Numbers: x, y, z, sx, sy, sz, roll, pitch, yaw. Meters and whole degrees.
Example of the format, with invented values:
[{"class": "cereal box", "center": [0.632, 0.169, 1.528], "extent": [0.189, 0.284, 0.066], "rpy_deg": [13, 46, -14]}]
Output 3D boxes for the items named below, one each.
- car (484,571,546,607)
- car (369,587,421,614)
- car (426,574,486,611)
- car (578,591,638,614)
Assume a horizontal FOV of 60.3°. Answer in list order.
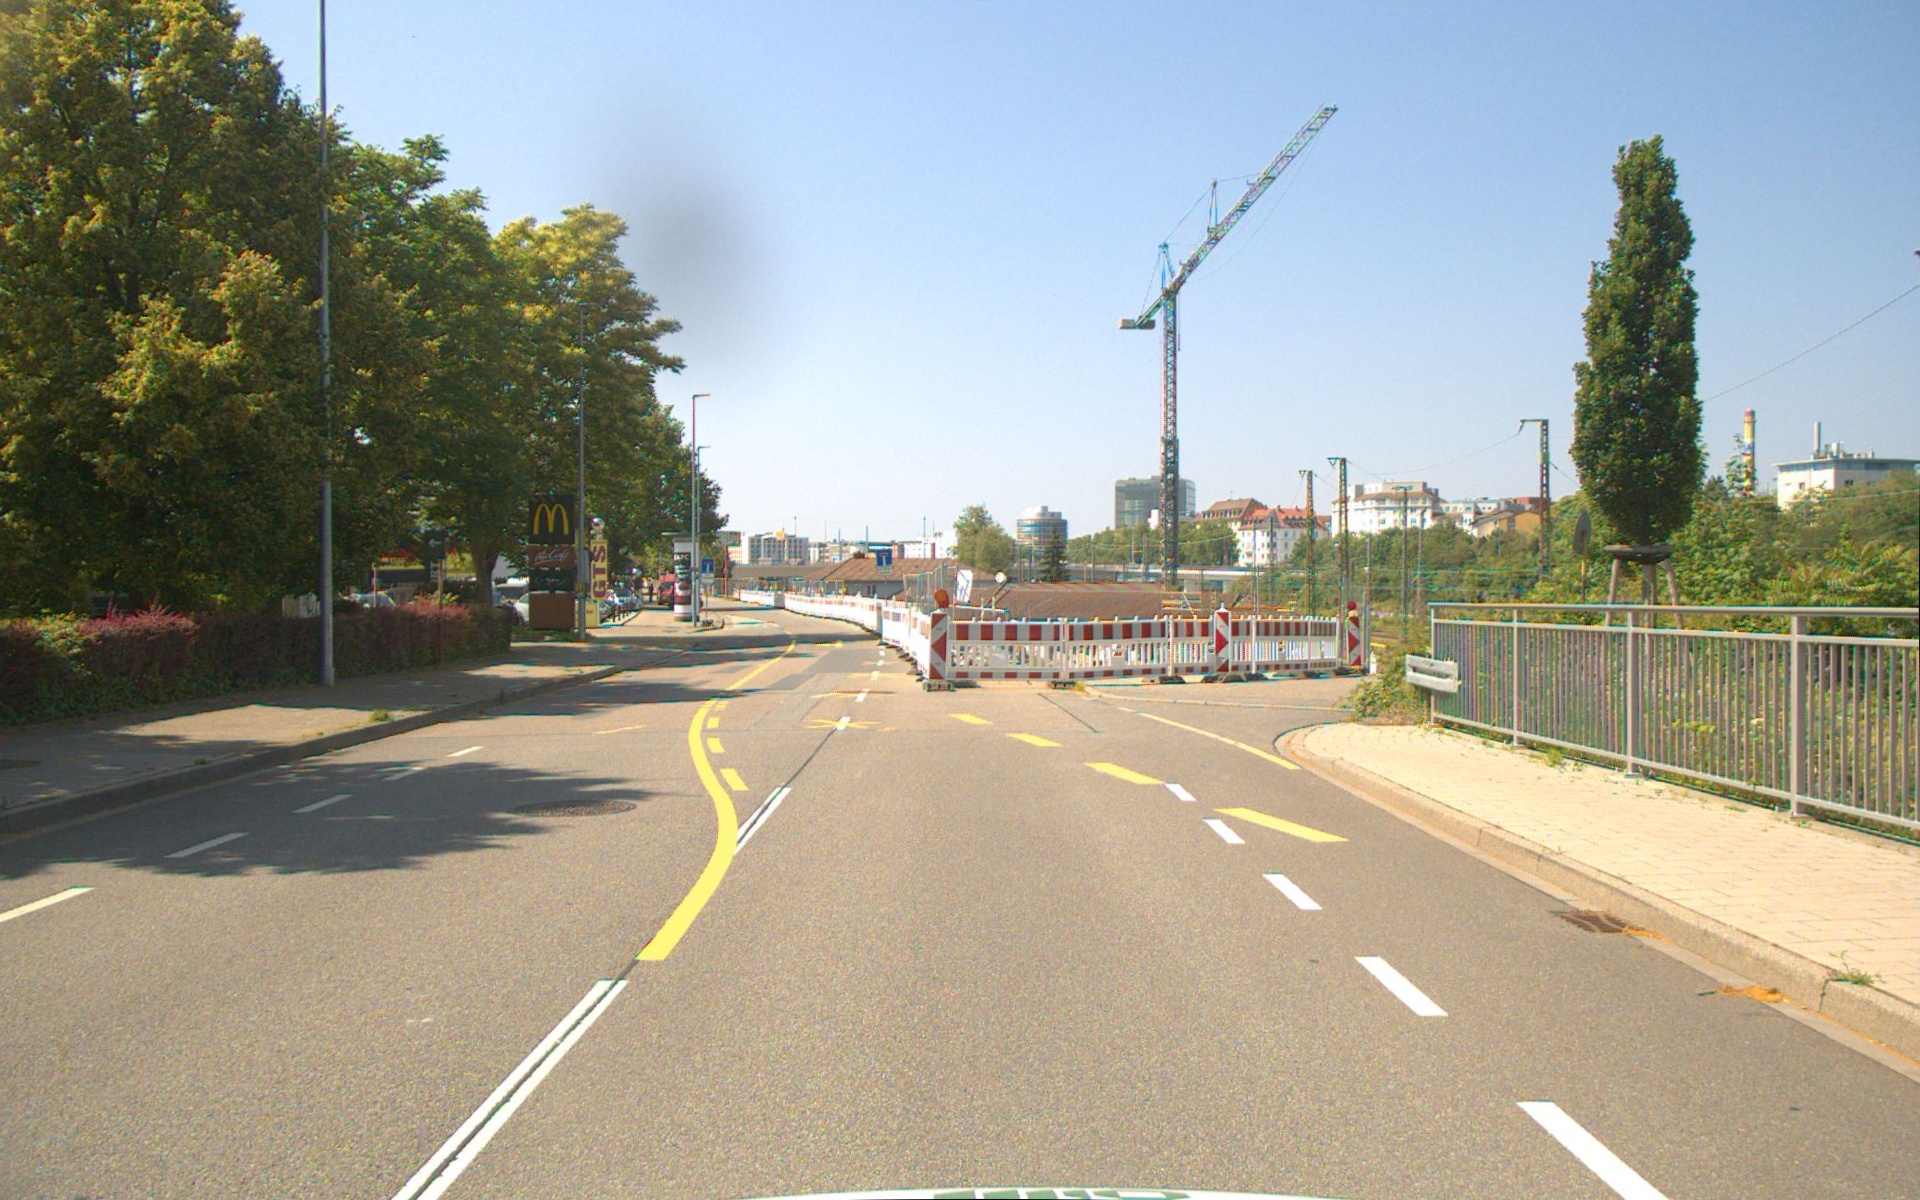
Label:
[{"class": "car", "center": [-24.793, -0.602, 92.071], "extent": [1.812, 1.963, 3.941], "rpy_deg": [0, 0, -40]}, {"class": "car", "center": [-30.035, 0.019, 87.902], "extent": [1.556, 1.445, 3.638], "rpy_deg": [0, 0, -38]}, {"class": "car", "center": [-27.073, -0.381, 88.863], "extent": [1.977, 1.937, 3.950], "rpy_deg": [0, 0, -35]}, {"class": "car", "center": [-22.963, 0.148, 107.811], "extent": [3.602, 1.445, 1.572], "rpy_deg": [0, 0, 24]}]
